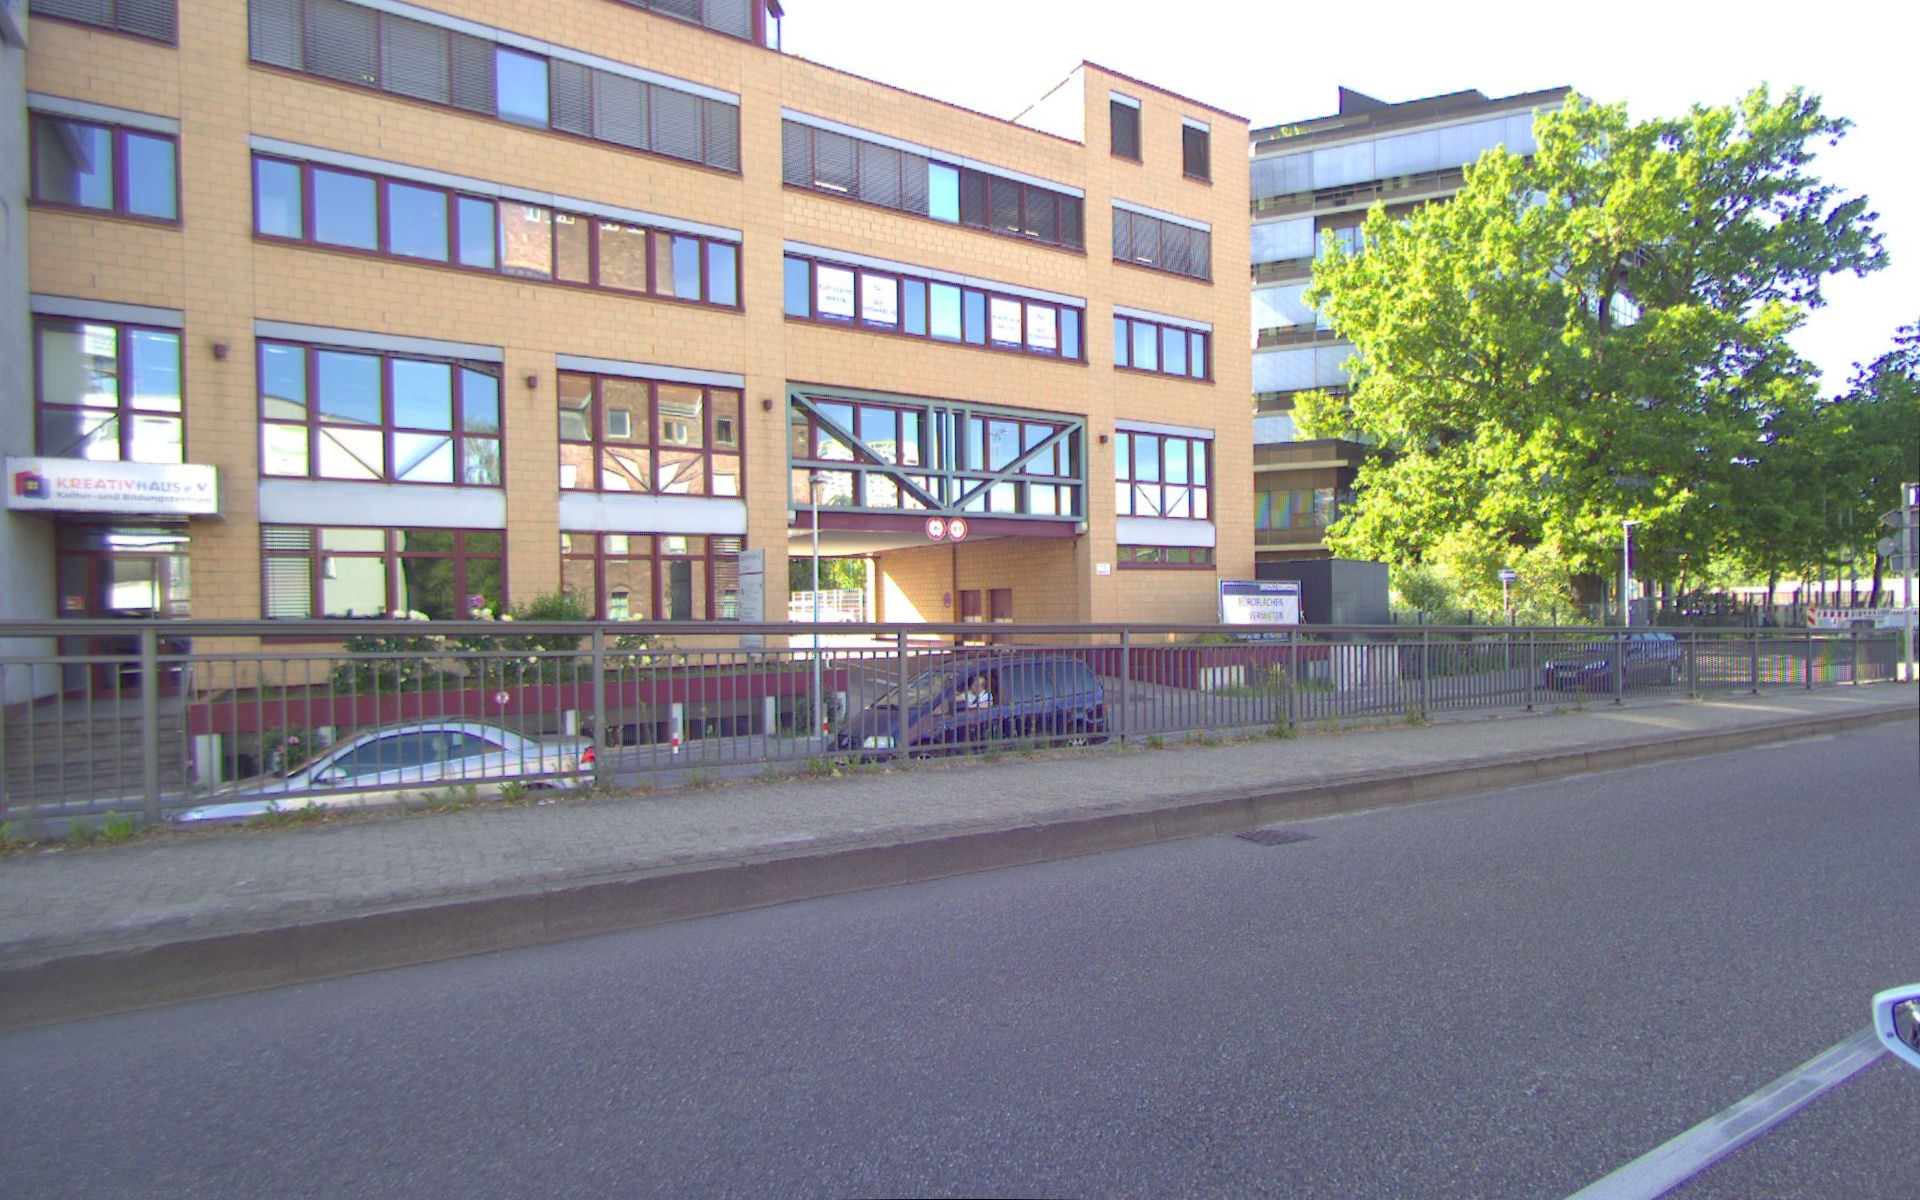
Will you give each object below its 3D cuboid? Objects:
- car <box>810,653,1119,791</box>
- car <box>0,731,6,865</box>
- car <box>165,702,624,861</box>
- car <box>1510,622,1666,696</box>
[{"bbox_3d":[0.156,1.697,15.181,4.541,1.669,1.710,0,-2,-35],"label":"car"},{"bbox_3d":[-10.646,1.914,8.280,3.766,1.286,1.567,0,-2,-32],"label":"car"},{"bbox_3d":[-6.136,1.900,11.307,4.210,1.181,1.713,0,-2,-32],"label":"car"},{"bbox_3d":[16.434,1.468,26.272,3.953,1.715,1.843,-1,0,-30],"label":"car"}]
